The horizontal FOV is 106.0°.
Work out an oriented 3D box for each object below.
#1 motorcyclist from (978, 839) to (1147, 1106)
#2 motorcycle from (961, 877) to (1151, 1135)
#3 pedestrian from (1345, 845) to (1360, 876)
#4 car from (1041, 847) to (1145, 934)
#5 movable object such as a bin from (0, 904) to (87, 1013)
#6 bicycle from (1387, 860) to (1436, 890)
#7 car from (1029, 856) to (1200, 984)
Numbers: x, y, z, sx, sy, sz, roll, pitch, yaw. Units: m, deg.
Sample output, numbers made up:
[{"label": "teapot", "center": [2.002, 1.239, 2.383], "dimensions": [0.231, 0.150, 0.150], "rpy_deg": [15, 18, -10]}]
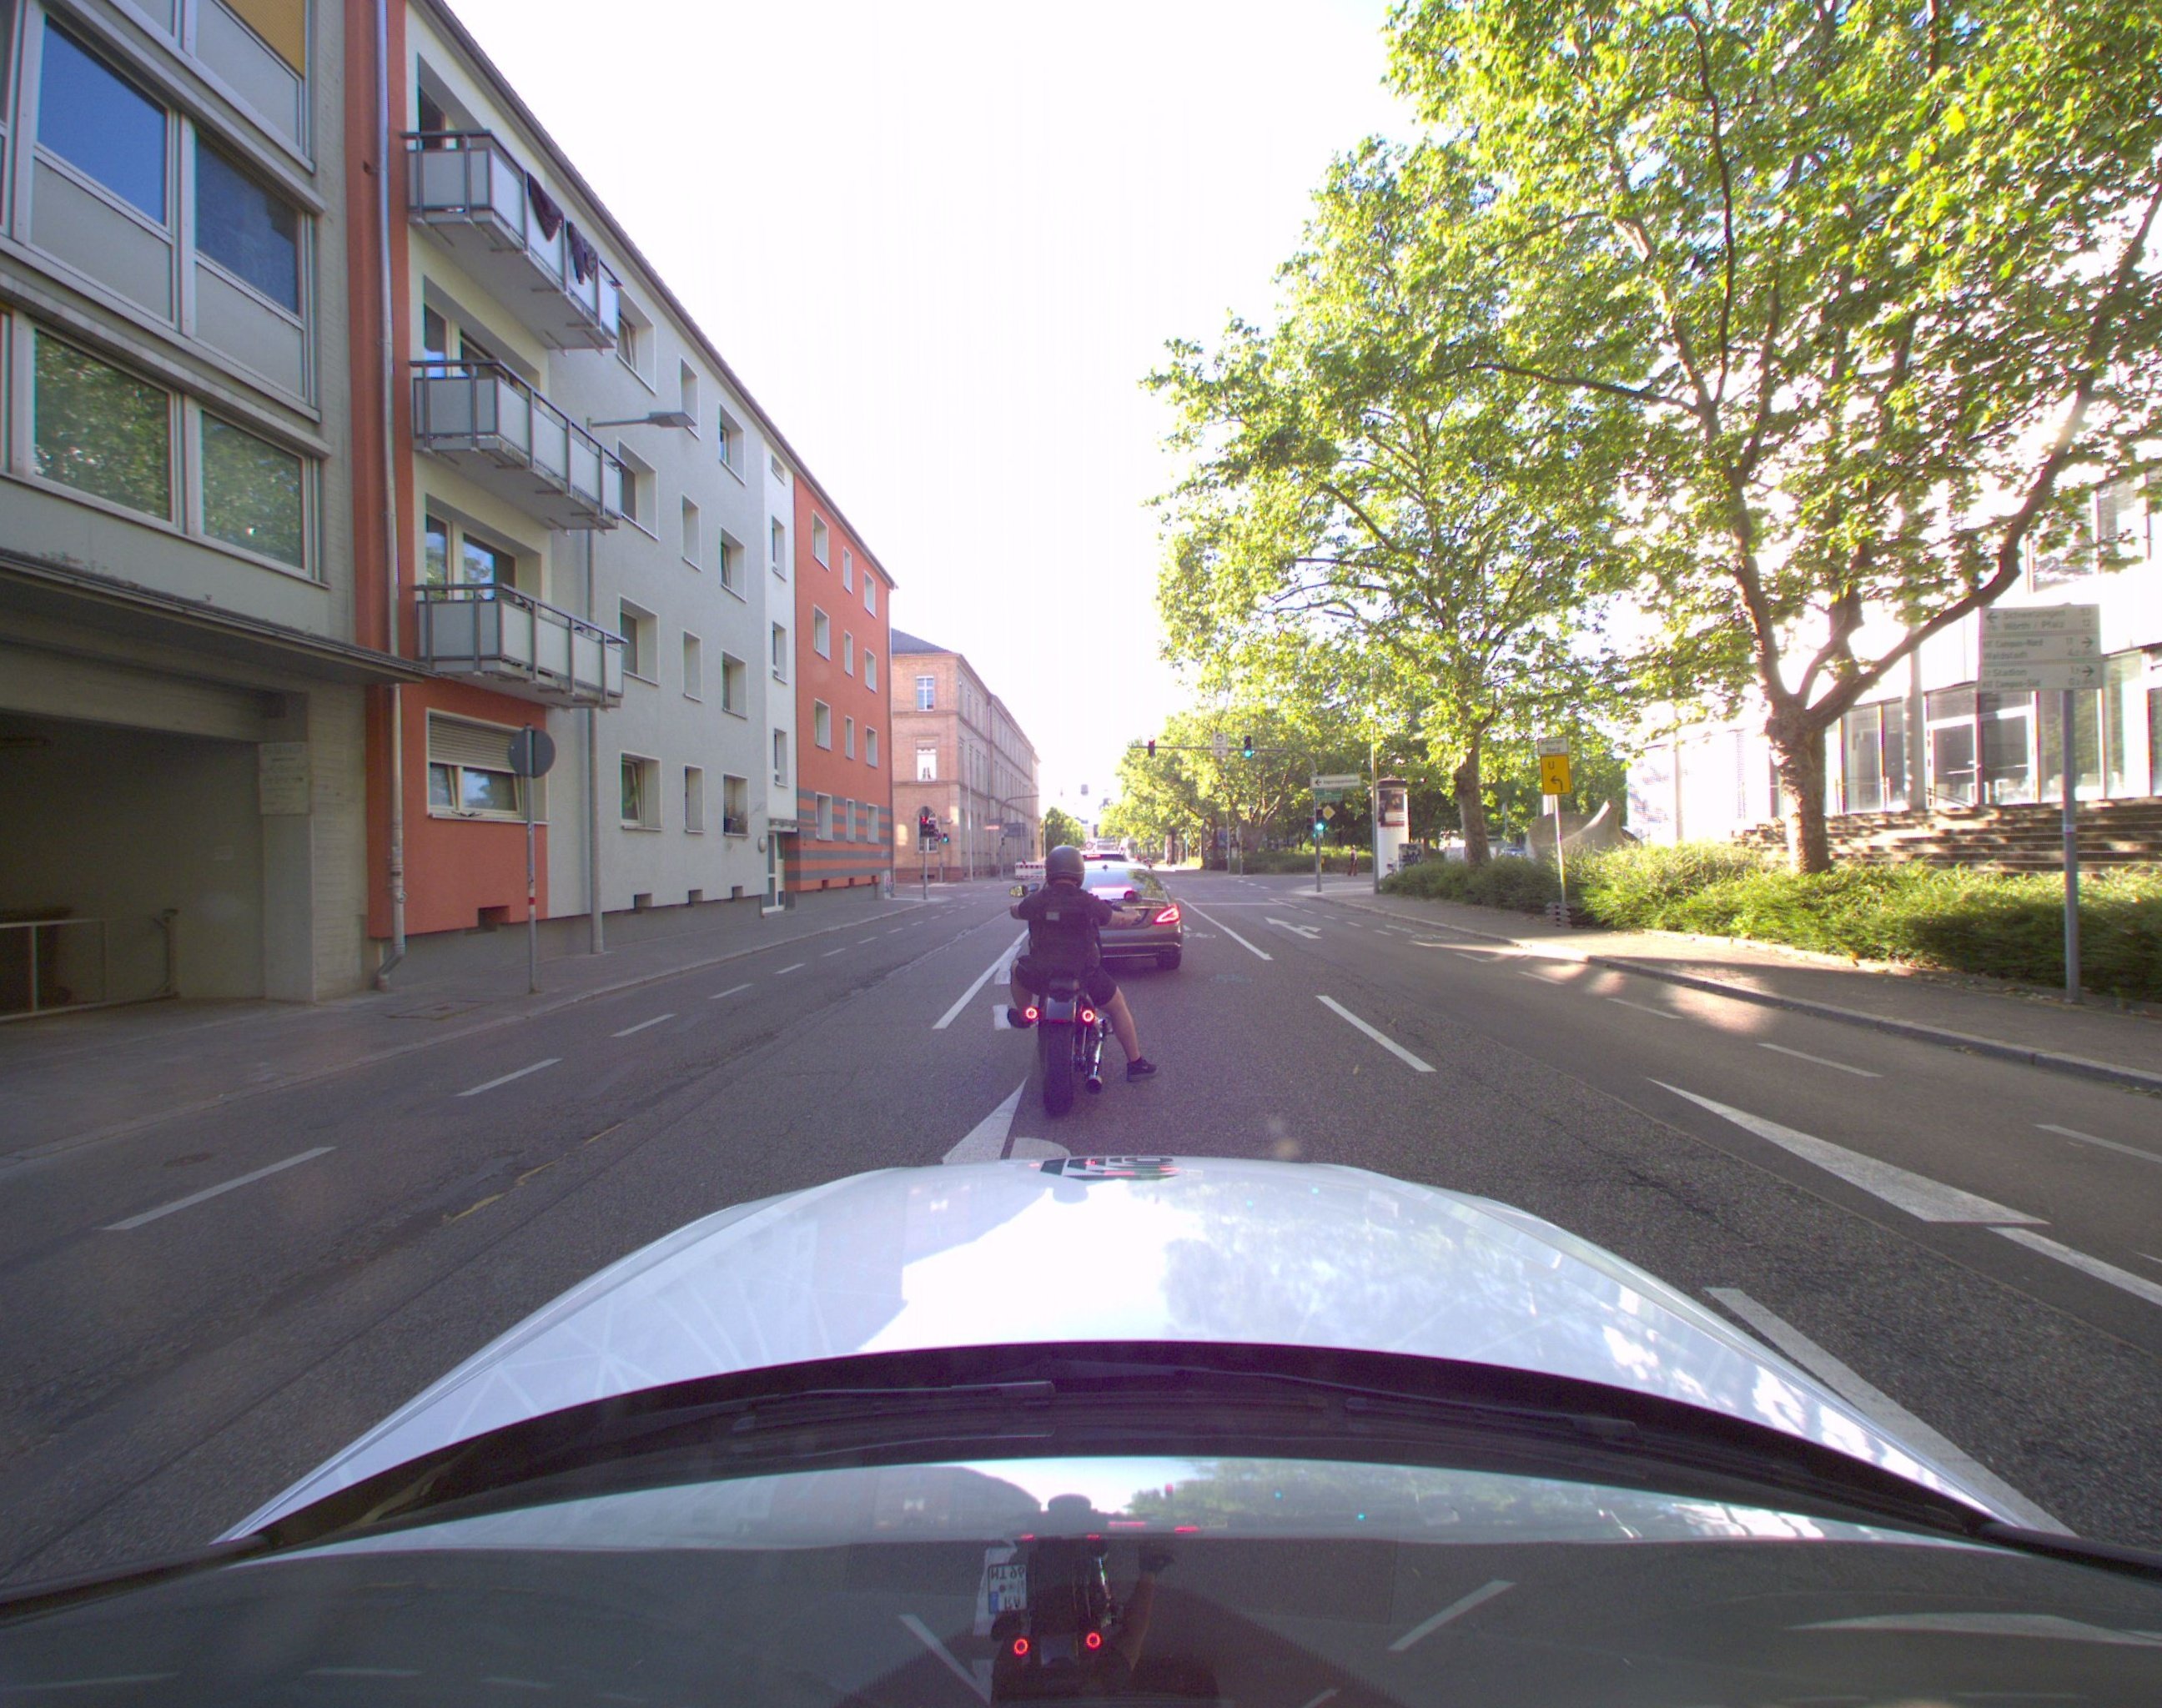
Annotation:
[{"label": "motorcyclist", "center": [-0.092, 0.707, 5.482], "dimensions": [0.977, 1.578, 1.249], "rpy_deg": [-1, 0, 1]}, {"label": "motorcycle", "center": [-0.095, 0.839, 5.504], "dimensions": [0.977, 1.275, 2.408], "rpy_deg": [-1, 0, 2]}, {"label": "pedestrian", "center": [15.723, 0.363, 47.155], "dimensions": [0.671, 1.772, 0.621], "rpy_deg": [-1, -1, 31]}, {"label": "car", "center": [0.286, 0.725, 17.667], "dimensions": [1.986, 1.665, 4.001], "rpy_deg": [0, -1, 2]}, {"label": "movable object such as a bin", "center": [-11.292, 1.090, 8.642], "dimensions": [0.639, 1.065, 0.675], "rpy_deg": [-1, 0, 1]}, {"label": "bicycle", "center": [11.076, 0.712, 27.318], "dimensions": [1.475, 0.980, 0.300], "rpy_deg": [0, -1, 7]}, {"label": "car", "center": [0.261, 0.772, 11.740], "dimensions": [1.867, 1.444, 4.421], "rpy_deg": [-1, 0, -6]}]
